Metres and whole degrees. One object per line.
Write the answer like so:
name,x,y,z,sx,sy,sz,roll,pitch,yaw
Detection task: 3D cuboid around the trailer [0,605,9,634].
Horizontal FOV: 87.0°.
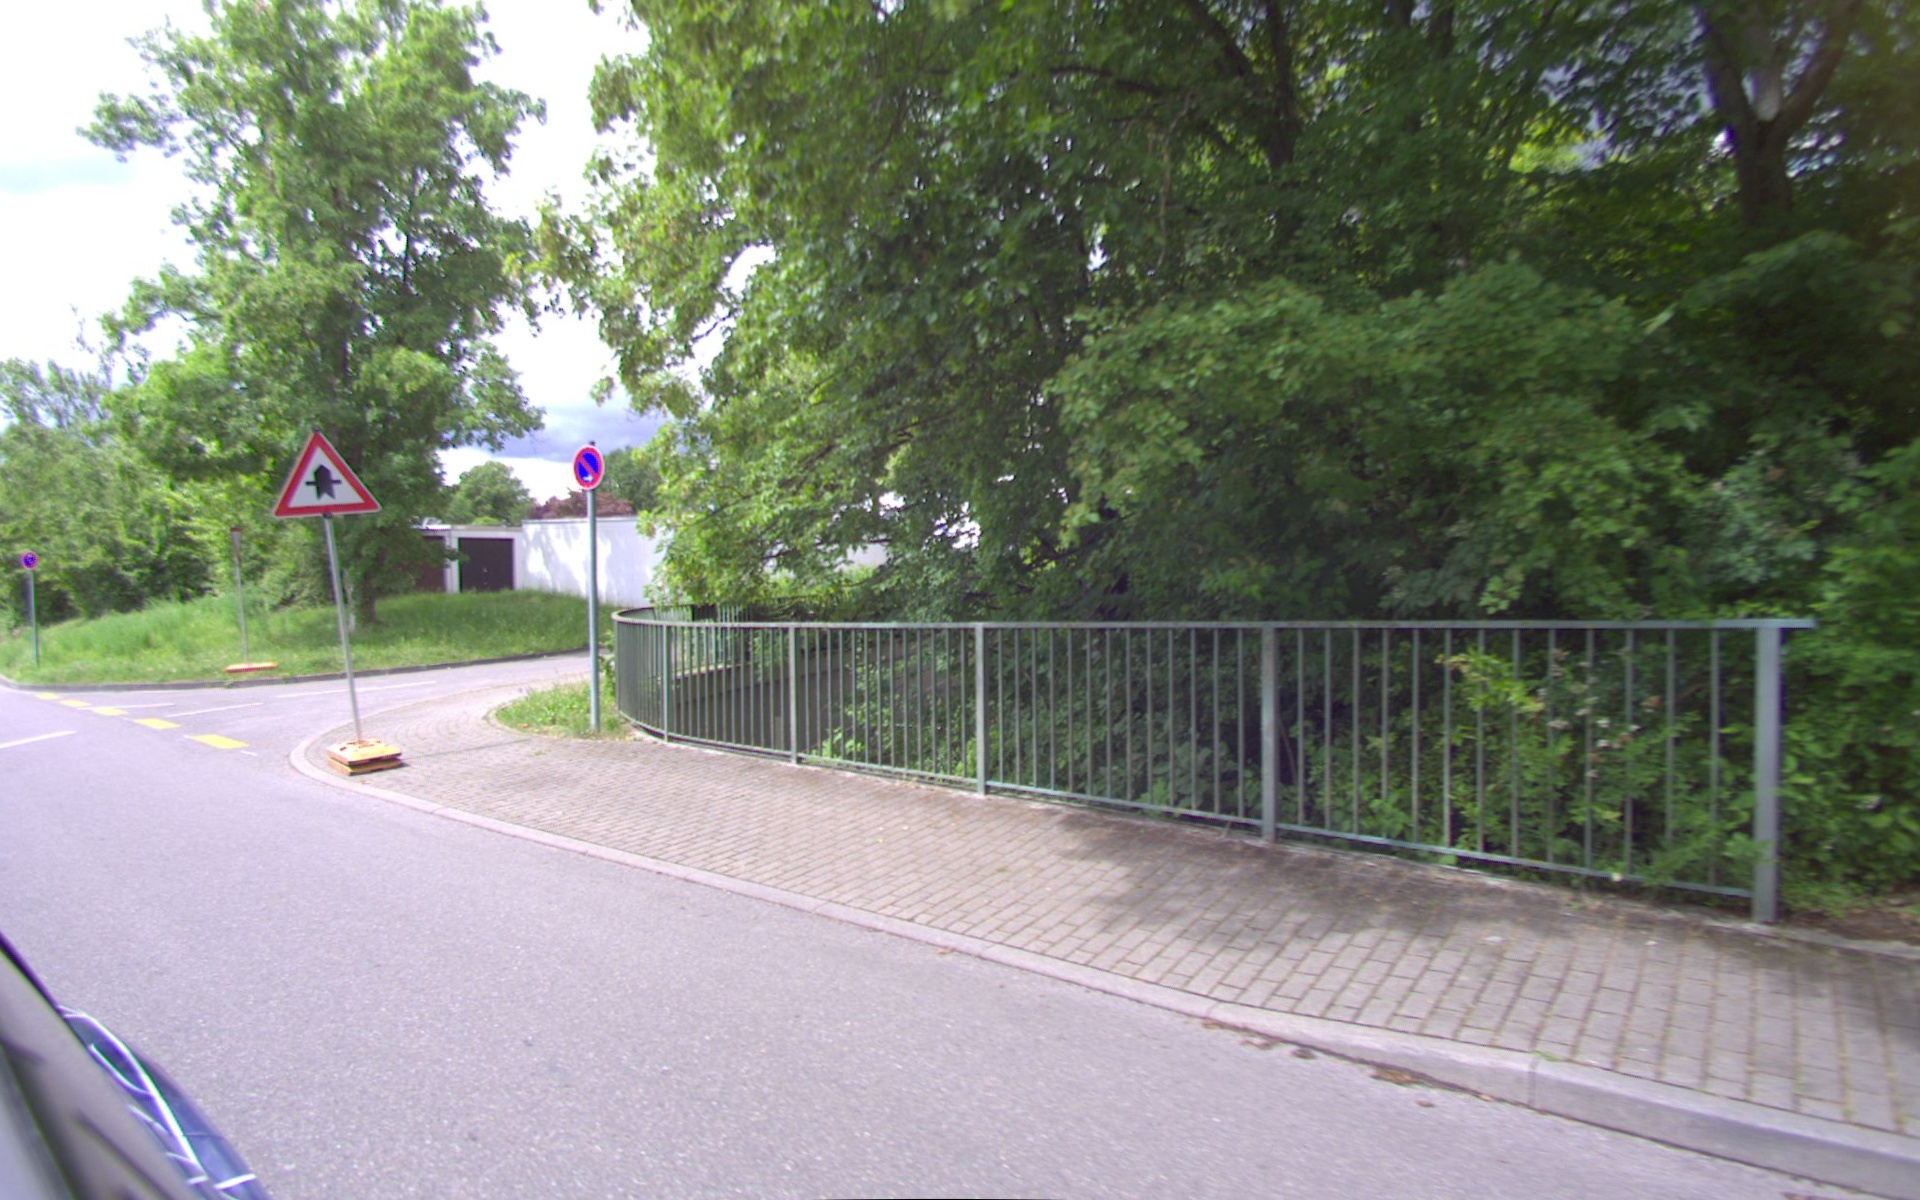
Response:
trailer,-73.378,1.493,76.172,1.706,2.094,3.796,1,1,-28
